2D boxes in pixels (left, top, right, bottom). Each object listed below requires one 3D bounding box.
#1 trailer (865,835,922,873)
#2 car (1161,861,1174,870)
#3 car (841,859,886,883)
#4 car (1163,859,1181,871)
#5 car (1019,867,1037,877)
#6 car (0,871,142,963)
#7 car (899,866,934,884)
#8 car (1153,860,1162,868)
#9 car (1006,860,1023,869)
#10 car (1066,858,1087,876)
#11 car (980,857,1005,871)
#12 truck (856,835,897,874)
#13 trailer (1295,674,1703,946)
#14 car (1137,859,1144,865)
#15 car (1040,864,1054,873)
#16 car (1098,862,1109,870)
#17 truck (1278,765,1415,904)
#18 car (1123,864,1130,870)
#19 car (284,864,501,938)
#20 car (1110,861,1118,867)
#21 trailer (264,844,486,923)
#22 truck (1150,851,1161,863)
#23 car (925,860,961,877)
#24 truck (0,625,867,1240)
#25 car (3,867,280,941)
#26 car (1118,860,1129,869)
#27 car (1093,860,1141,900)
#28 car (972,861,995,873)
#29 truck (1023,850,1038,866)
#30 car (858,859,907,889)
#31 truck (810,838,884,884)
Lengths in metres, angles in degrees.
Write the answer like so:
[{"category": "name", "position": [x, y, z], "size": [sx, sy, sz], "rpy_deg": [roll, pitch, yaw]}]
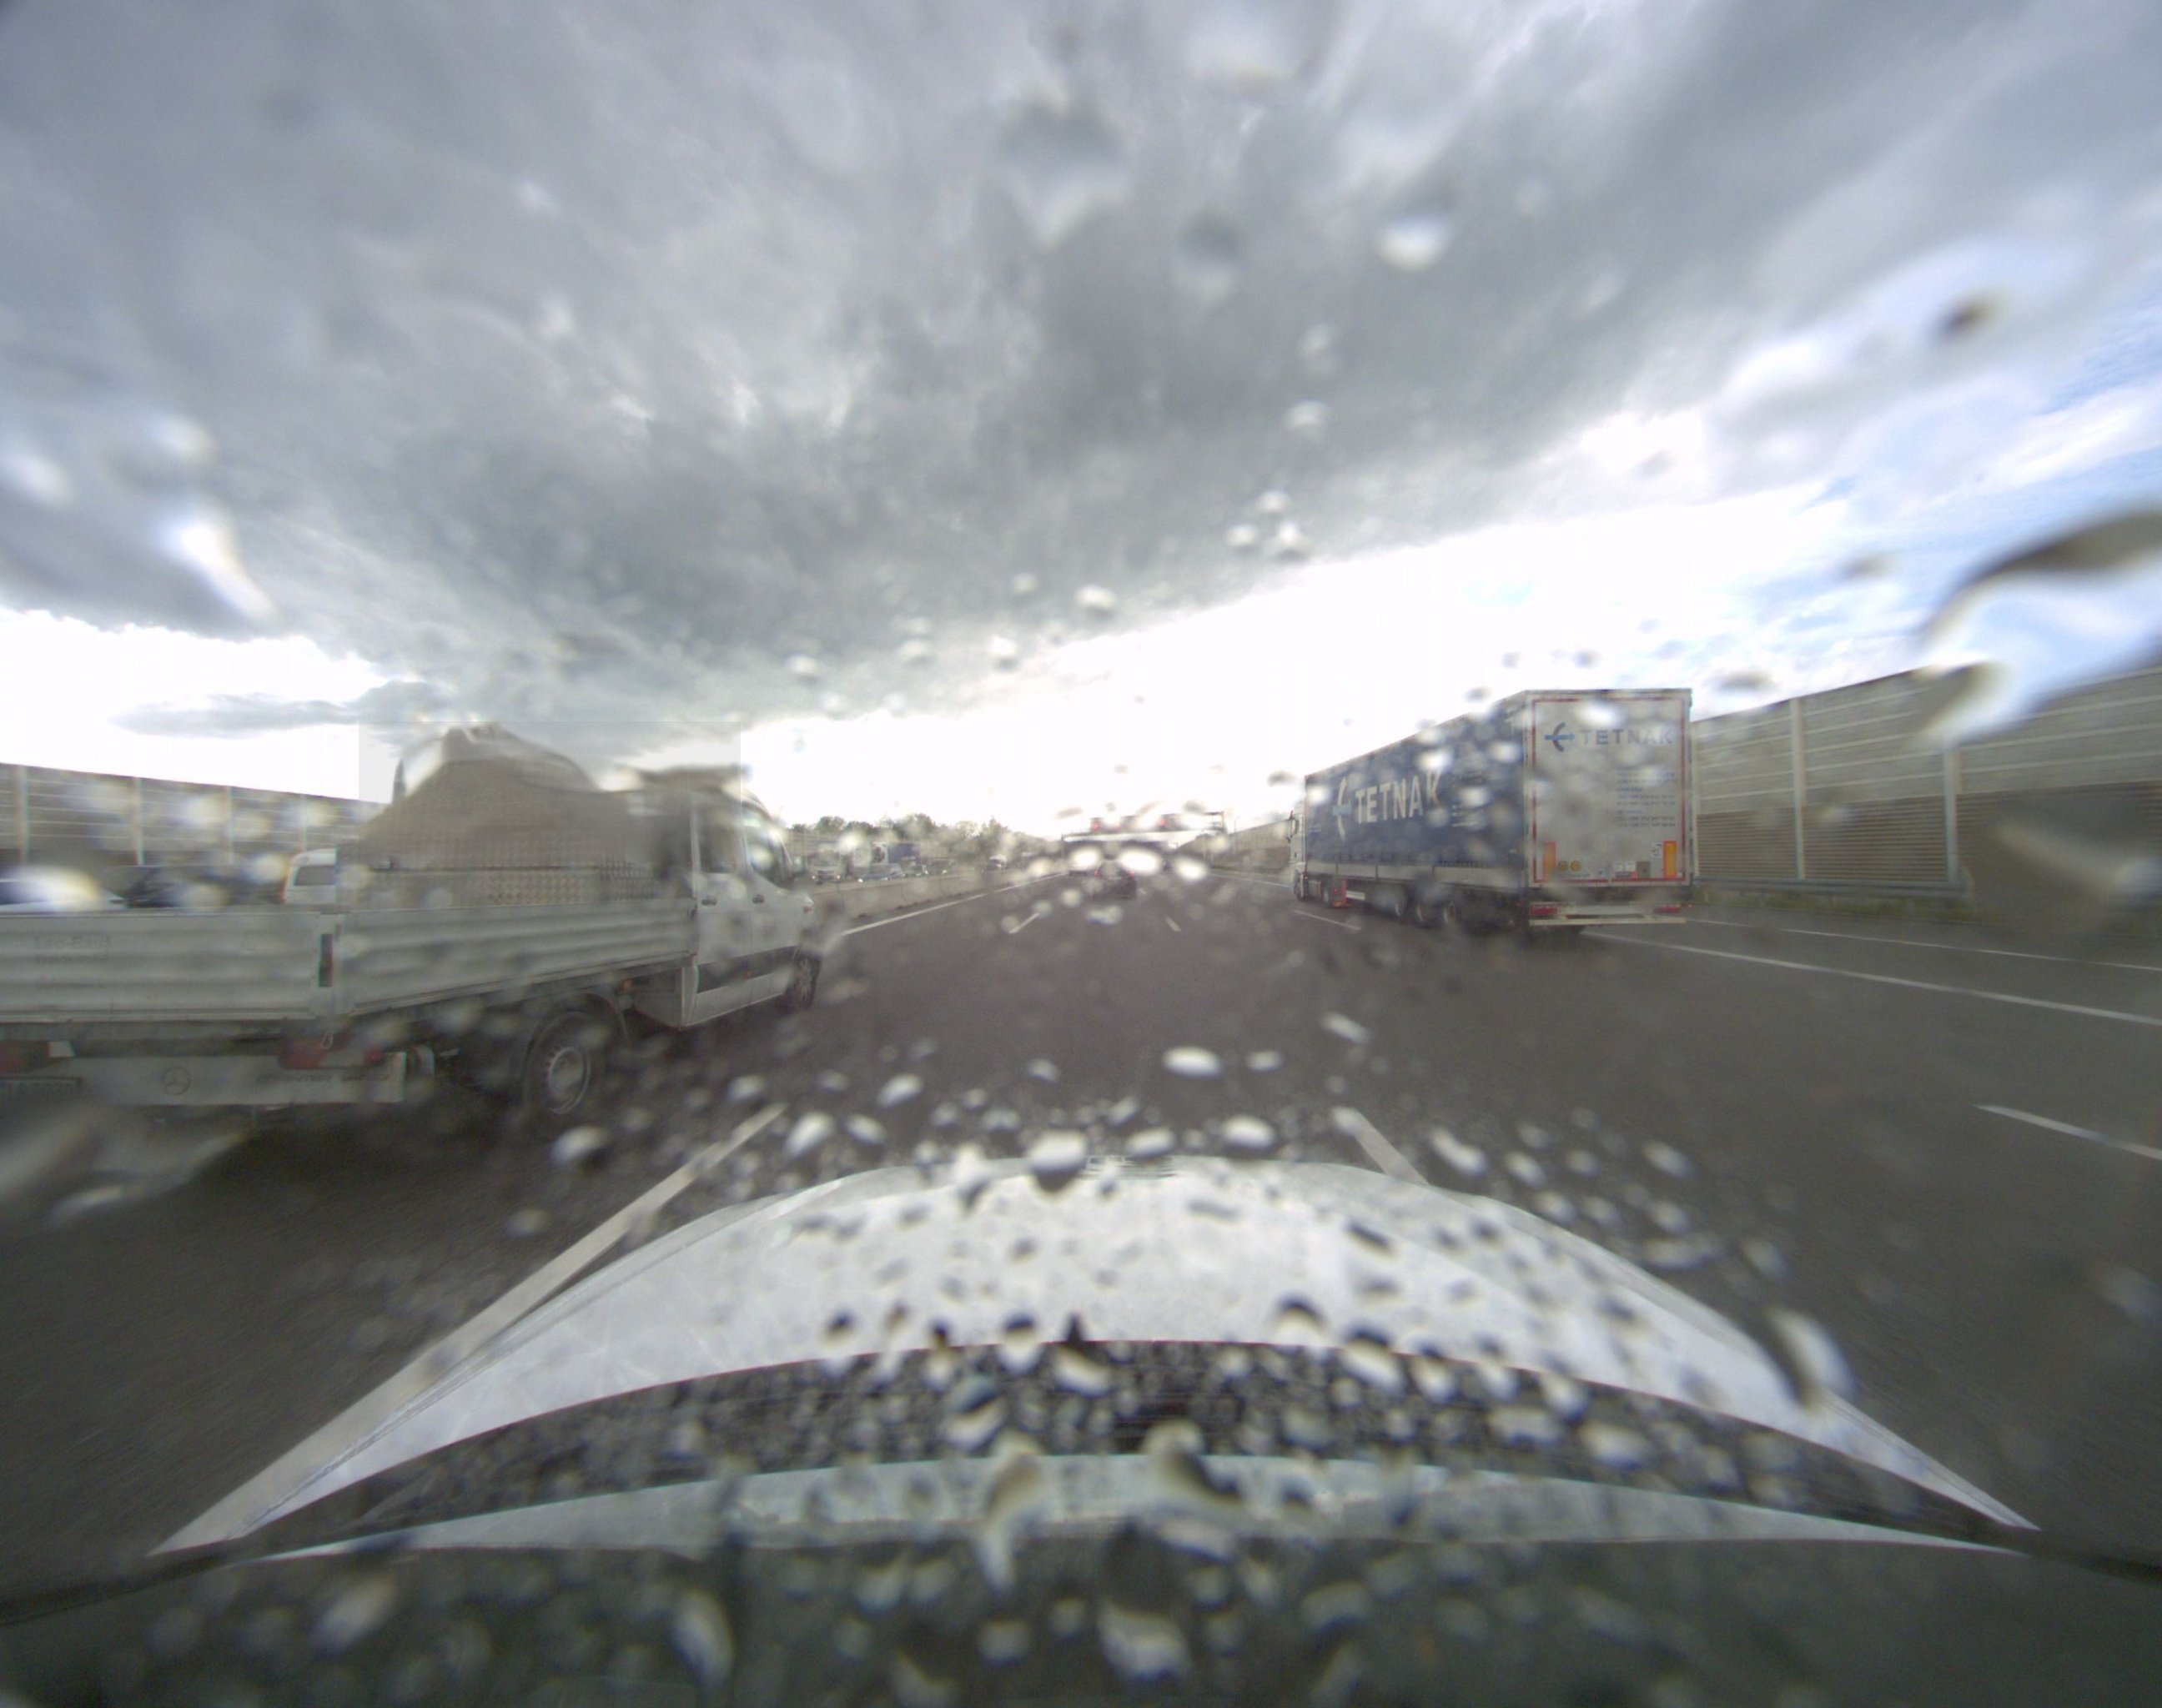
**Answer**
[{"category": "trailer", "position": [-21.615, 0.099, 94.964], "size": [2.750, 4.032, 14.459], "rpy_deg": [-1, -1, 2]}, {"category": "car", "position": [14.838, 1.969, 140.138], "size": [1.875, 1.542, 4.436], "rpy_deg": [-2, -1, 3]}, {"category": "car", "position": [-16.323, 1.238, 61.425], "size": [1.866, 1.699, 5.017], "rpy_deg": [-1, 0, 1]}, {"category": "car", "position": [11.770, 1.466, 105.103], "size": [1.942, 1.418, 4.233], "rpy_deg": [-1, -1, 2]}, {"category": "car", "position": [-8.100, 2.725, 124.874], "size": [2.051, 1.491, 5.003], "rpy_deg": [-1, -1, 4]}, {"category": "car", "position": [-21.303, 1.226, 15.394], "size": [1.949, 1.699, 4.410], "rpy_deg": [-1, 0, 0]}, {"category": "car", "position": [-15.048, 1.894, 74.808], "size": [2.052, 1.600, 5.000], "rpy_deg": [-1, -1, 2]}, {"category": "car", "position": [17.398, 2.281, 184.946], "size": [1.874, 1.561, 4.438], "rpy_deg": [-2, -1, 4]}, {"category": "car", "position": [-11.297, 1.813, 139.246], "size": [2.051, 1.491, 5.003], "rpy_deg": [-1, -1, 4]}, {"category": "car", "position": [-0.396, 1.249, 77.398], "size": [1.710, 1.624, 4.282], "rpy_deg": [-1, 0, 3]}, {"category": "car", "position": [-9.821, 1.122, 91.104], "size": [2.052, 1.491, 4.999], "rpy_deg": [-1, -1, 2]}, {"category": "truck", "position": [-21.872, 0.067, 87.298], "size": [2.734, 4.035, 5.729], "rpy_deg": [-1, -1, 2]}, {"category": "trailer", "position": [8.163, -0.602, 19.444], "size": [2.750, 4.032, 14.459], "rpy_deg": [-1, -1, 2]}, {"category": "car", "position": [15.899, 2.107, 217.092], "size": [1.959, 1.561, 4.437], "rpy_deg": [-2, -1, 4]}, {"category": "car", "position": [-6.299, 2.697, 152.093], "size": [2.051, 1.491, 5.003], "rpy_deg": [-1, -1, 4]}, {"category": "car", "position": [4.720, 2.420, 169.717], "size": [1.959, 1.561, 4.438], "rpy_deg": [-2, -1, 4]}, {"category": "truck", "position": [8.452, -0.544, 26.666], "size": [2.734, 4.035, 5.728], "rpy_deg": [-1, -1, 2]}, {"category": "car", "position": [12.479, 3.582, 224.479], "size": [1.960, 1.561, 4.436], "rpy_deg": [-2, -1, 3]}, {"category": "car", "position": [-17.951, 1.141, 21.583], "size": [1.949, 1.699, 4.410], "rpy_deg": [-1, 0, 0]}, {"category": "car", "position": [9.300, 2.832, 230.581], "size": [1.959, 1.561, 4.438], "rpy_deg": [-2, -1, 4]}, {"category": "trailer", "position": [-24.878, 0.955, 29.157], "size": [2.449, 2.495, 6.089], "rpy_deg": [-1, 0, 2]}, {"category": "truck", "position": [21.386, 0.893, 234.325], "size": [3.138, 3.602, 12.713], "rpy_deg": [0, 0, 4]}, {"category": "car", "position": [-11.257, 1.188, 66.862], "size": [1.866, 1.299, 5.602], "rpy_deg": [-1, 0, 1]}, {"category": "truck", "position": [-3.940, 0.328, 6.831], "size": [2.299, 2.440, 7.148], "rpy_deg": [-1, 0, 1]}, {"category": "car", "position": [-24.960, 1.244, 21.983], "size": [1.947, 1.699, 4.662], "rpy_deg": [-1, 0, 2]}, {"category": "car", "position": [8.235, 2.045, 157.768], "size": [1.959, 1.561, 4.438], "rpy_deg": [-2, -1, 4]}, {"category": "car", "position": [1.352, 0.961, 31.770], "size": [1.711, 1.417, 4.279], "rpy_deg": [-1, 0, 1]}, {"category": "car", "position": [-12.748, 1.694, 106.842], "size": [2.051, 1.491, 5.003], "rpy_deg": [-1, -1, 4]}, {"category": "truck", "position": [-13.054, 1.047, 210.375], "size": [2.959, 4.035, 5.732], "rpy_deg": [-1, -1, 4]}, {"category": "car", "position": [-11.983, 1.189, 49.414], "size": [1.866, 1.699, 4.223], "rpy_deg": [-1, 0, 1]}, {"category": "truck", "position": [-19.197, 0.565, 67.616], "size": [2.684, 3.527, 10.004], "rpy_deg": [0, 0, 3]}]
